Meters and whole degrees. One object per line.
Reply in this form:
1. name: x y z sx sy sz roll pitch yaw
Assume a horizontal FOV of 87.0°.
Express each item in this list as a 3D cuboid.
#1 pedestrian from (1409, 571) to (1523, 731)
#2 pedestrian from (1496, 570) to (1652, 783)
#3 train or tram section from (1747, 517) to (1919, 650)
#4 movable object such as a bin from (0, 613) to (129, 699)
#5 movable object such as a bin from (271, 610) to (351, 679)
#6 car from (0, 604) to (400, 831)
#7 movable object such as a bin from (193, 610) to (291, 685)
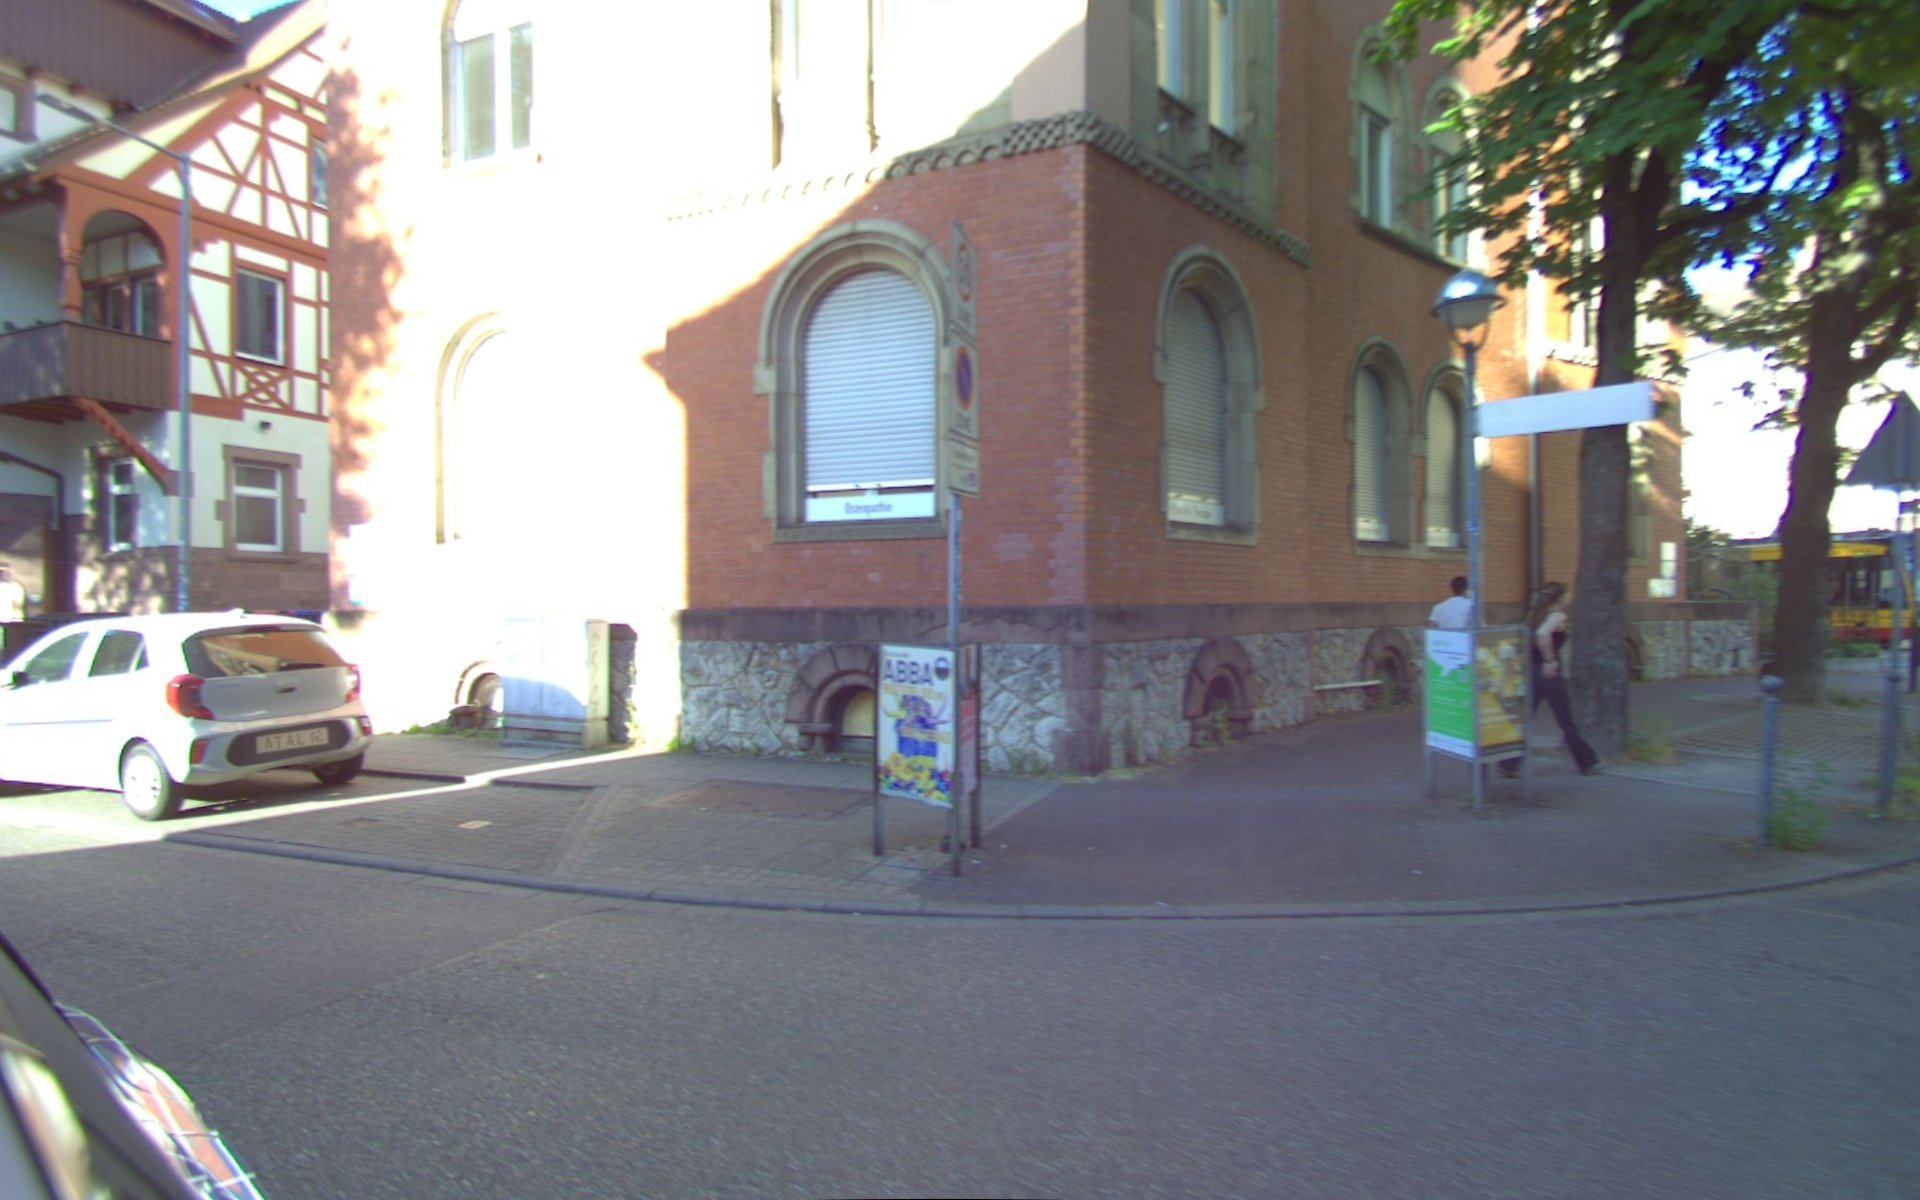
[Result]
1. pedestrian: 5.474 0.534 11.002 0.850 1.655 0.867 -1 -1 9
2. pedestrian: 4.861 0.581 8.038 0.841 1.617 0.603 0 -1 -10
3. train or tram section: 27.937 -0.441 30.872 2.882 3.668 6.345 -1 -1 1
4. movable object such as a bin: -14.565 0.879 16.484 0.965 1.308 1.365 -1 0 32
5. movable object such as a bin: -12.896 0.861 20.126 0.627 1.320 1.195 -1 0 24
6. car: -6.777 0.827 8.454 3.773 1.496 1.698 -1 2 23
7. movable object such as a bin: -13.429 0.871 18.966 0.681 1.327 1.377 -1 0 15
